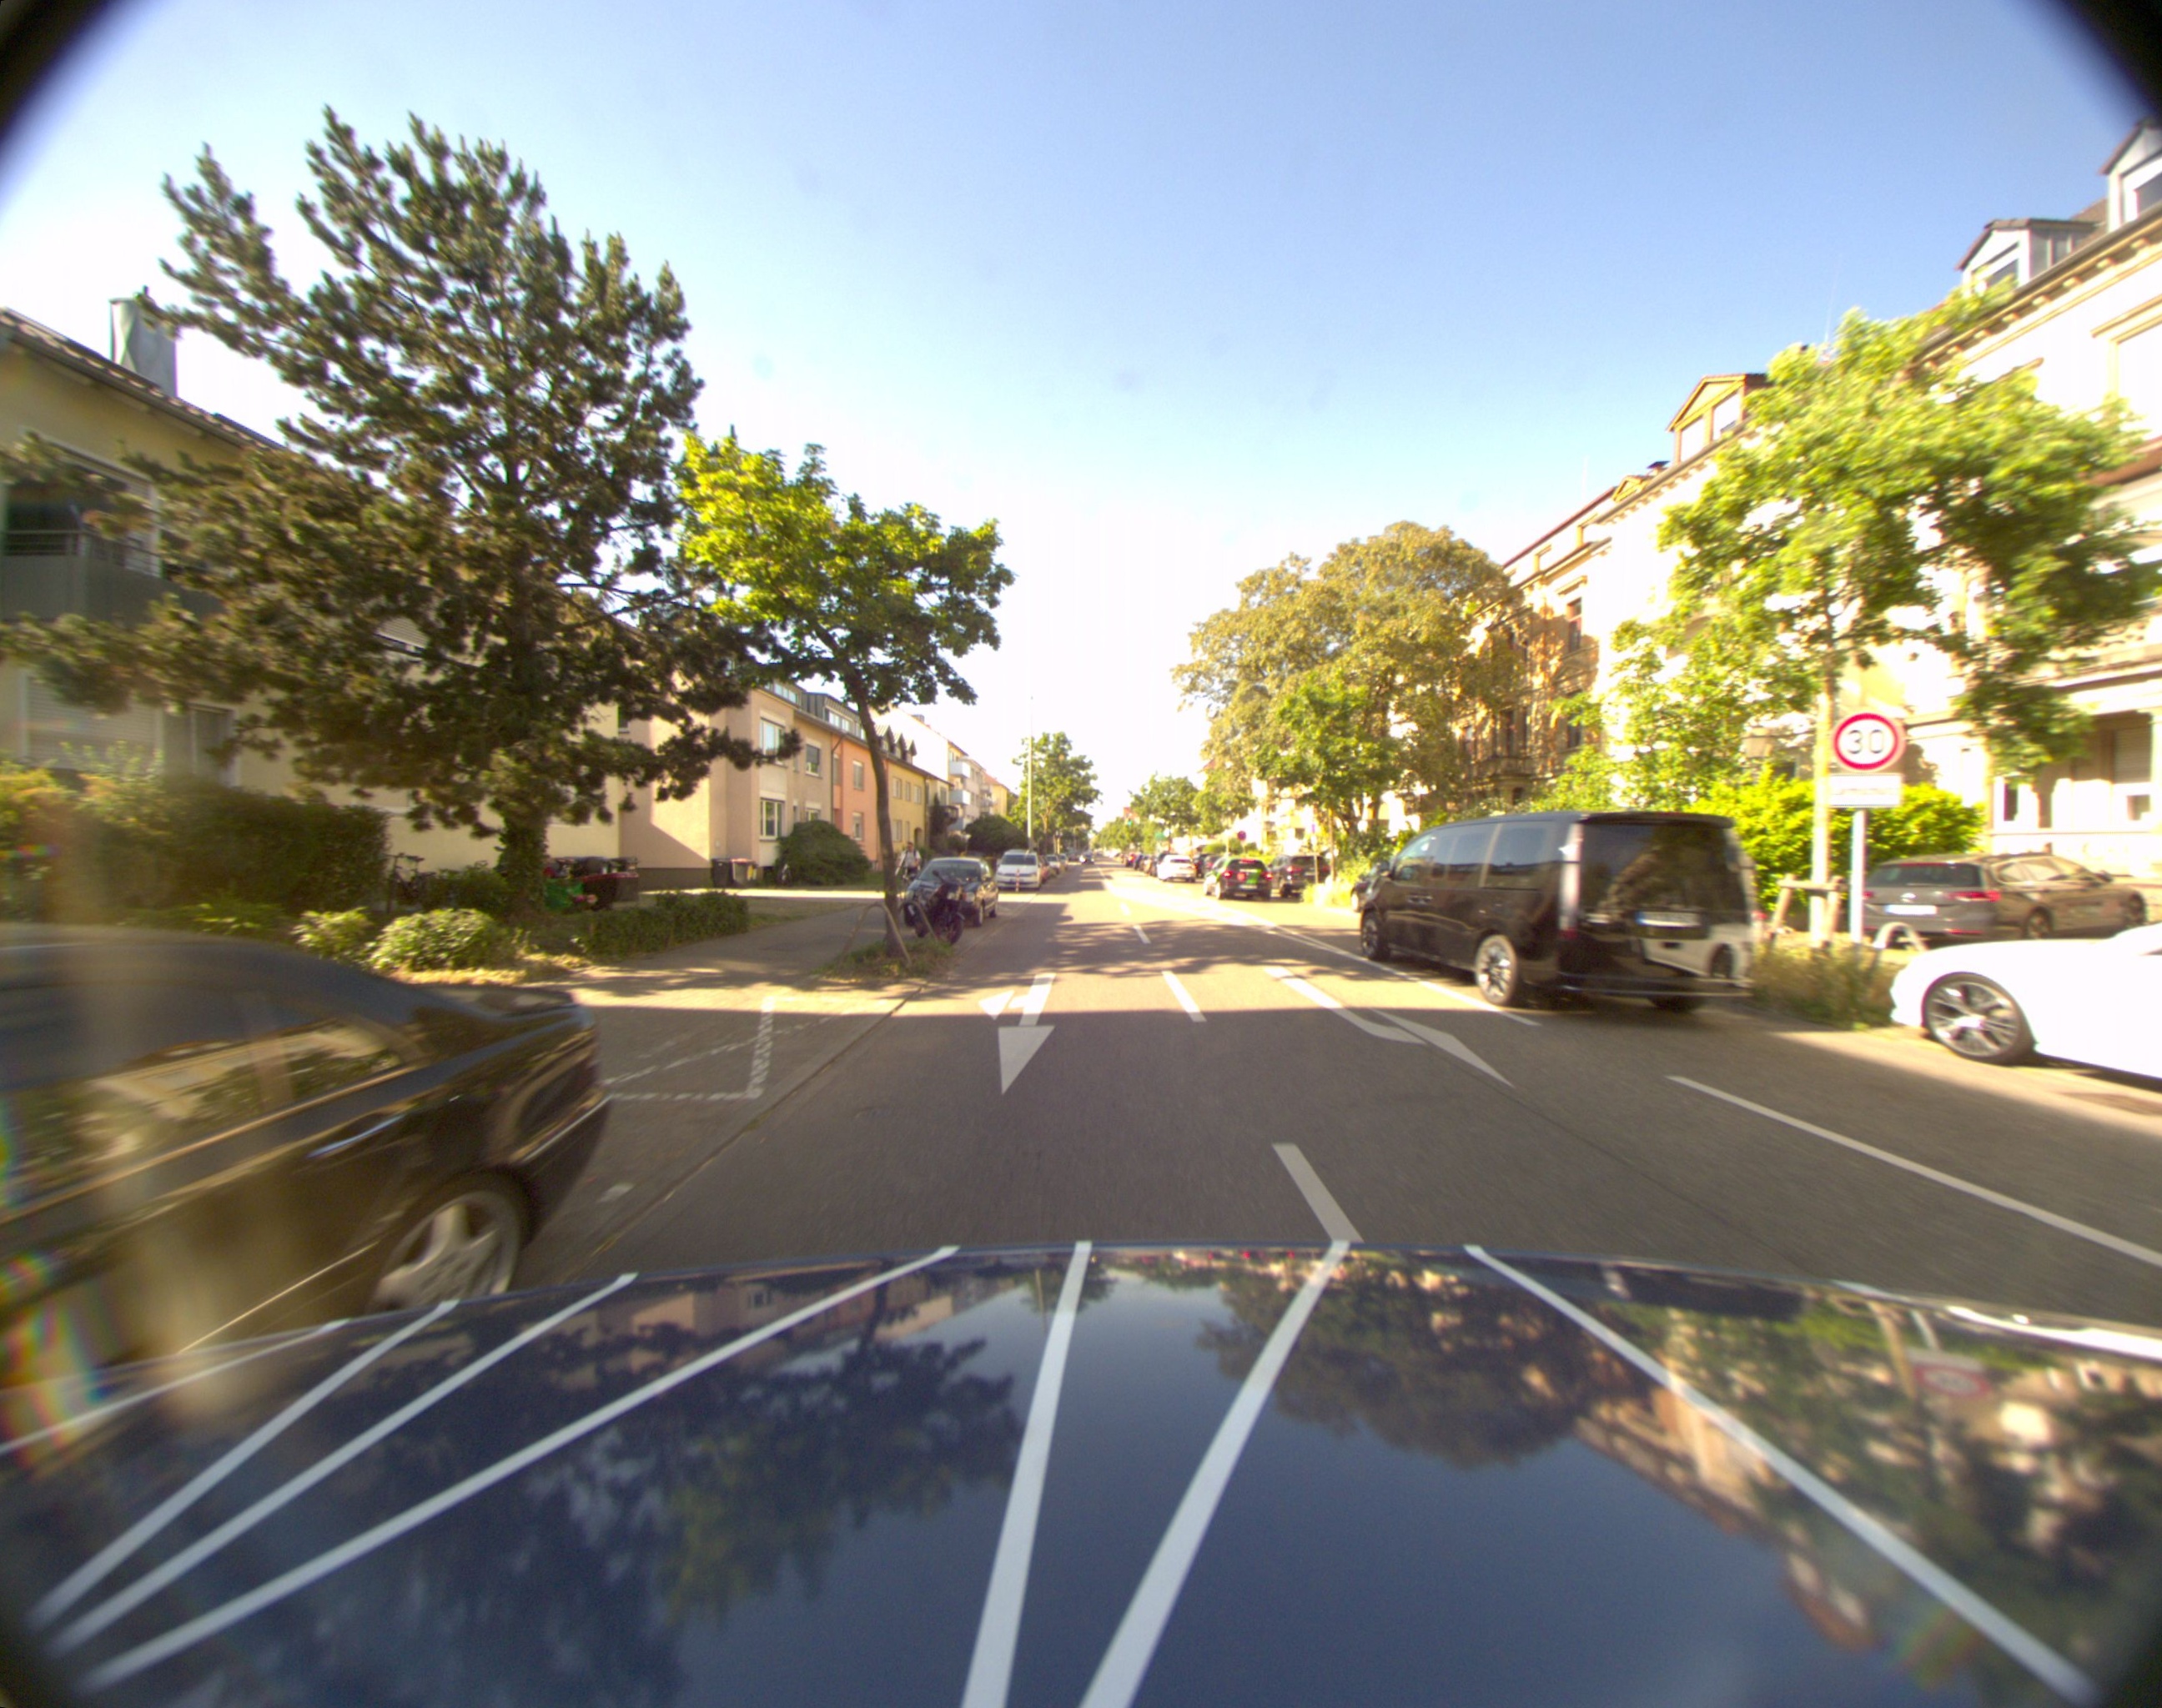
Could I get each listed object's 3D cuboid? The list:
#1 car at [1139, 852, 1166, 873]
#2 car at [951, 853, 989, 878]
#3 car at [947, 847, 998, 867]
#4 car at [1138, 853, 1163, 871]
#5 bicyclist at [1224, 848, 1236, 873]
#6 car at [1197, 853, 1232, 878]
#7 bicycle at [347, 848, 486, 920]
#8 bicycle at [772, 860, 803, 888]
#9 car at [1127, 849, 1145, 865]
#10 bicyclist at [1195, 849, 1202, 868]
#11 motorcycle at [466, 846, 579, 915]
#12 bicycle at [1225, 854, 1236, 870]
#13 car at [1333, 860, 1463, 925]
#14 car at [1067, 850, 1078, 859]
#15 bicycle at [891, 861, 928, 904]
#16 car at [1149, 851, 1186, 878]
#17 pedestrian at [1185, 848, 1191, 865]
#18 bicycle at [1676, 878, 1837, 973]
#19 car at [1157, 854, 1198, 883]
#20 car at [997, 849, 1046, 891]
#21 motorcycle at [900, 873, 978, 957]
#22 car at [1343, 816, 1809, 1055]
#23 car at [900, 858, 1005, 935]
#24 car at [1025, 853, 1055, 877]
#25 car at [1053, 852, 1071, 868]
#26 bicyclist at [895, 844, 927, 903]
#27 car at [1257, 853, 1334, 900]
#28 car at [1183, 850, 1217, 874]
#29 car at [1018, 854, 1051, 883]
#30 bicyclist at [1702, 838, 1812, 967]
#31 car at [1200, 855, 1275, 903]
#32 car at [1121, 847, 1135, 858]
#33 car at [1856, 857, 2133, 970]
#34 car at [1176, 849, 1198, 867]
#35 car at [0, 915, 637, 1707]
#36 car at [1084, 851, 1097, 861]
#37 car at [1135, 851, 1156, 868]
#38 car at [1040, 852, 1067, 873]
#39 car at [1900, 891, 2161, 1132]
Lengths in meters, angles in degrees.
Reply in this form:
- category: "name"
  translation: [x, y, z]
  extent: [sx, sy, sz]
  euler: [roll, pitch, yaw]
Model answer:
- category: "car"
  translation: [5.271, 0.611, 56.343]
  extent: [1.585, 1.443, 3.744]
  euler: [0, 0, -2]
- category: "car"
  translation: [-6.389, 0.636, 44.015]
  extent: [1.535, 1.348, 3.717]
  euler: [3, 0, 1]
- category: "car"
  translation: [-9.335, 0.239, 65.504]
  extent: [3.997, 1.433, 1.831]
  euler: [3, 1, 1]
- category: "car"
  translation: [5.933, 0.639, 64.965]
  extent: [1.639, 1.395, 3.735]
  euler: [2, 0, -1]
- category: "bicyclist"
  translation: [10.640, 0.478, 54.232]
  extent: [0.584, 1.756, 1.208]
  euler: [-2, 1, 0]
- category: "car"
  translation: [8.173, 0.677, 46.899]
  extent: [1.605, 1.468, 3.931]
  euler: [-1, 0, 2]
- category: "bicycle"
  translation: [-13.047, 0.540, 15.038]
  extent: [0.599, 1.296, 2.425]
  euler: [1, 0, 1]
- category: "bicycle"
  translation: [-11.368, 0.768, 29.472]
  extent: [0.456, 0.987, 1.743]
  euler: [2, 2, 1]
- category: "car"
  translation: [6.048, 0.292, 84.128]
  extent: [1.726, 1.607, 4.300]
  euler: [3, 0, 1]
- category: "bicyclist"
  translation: [10.738, 0.413, 69.456]
  extent: [0.610, 1.744, 0.691]
  euler: [0, 1, 1]
- category: "motorcycle"
  translation: [-12.077, 0.531, 16.549]
  extent: [0.638, 1.368, 2.425]
  euler: [1, 0, 1]
- category: "bicycle"
  translation: [10.651, 0.561, 54.173]
  extent: [0.450, 1.109, 1.764]
  euler: [-2, 0, 0]
- category: "car"
  translation: [7.991, 0.899, 19.576]
  extent: [1.641, 1.408, 4.089]
  euler: [-2, 0, 1]
- category: "car"
  translation: [-1.457, 0.062, 134.816]
  extent: [1.822, 1.542, 4.304]
  euler: [0, 1, 1]
- category: "bicycle"
  translation: [-5.283, 0.848, 23.501]
  extent: [0.699, 1.239, 1.822]
  euler: [1, 1, 1]
- category: "car"
  translation: [5.533, 0.641, 49.005]
  extent: [1.841, 1.604, 4.400]
  euler: [2, 0, 0]
- category: "pedestrian"
  translation: [10.524, 0.219, 74.882]
  extent: [0.470, 1.641, 0.719]
  euler: [-1, 1, 1]
- category: "bicycle"
  translation: [9.937, 0.993, 11.312]
  extent: [0.449, 1.186, 2.192]
  euler: [0, 1, 1]
- category: "car"
  translation: [5.232, 0.739, 41.661]
  extent: [1.737, 1.404, 4.192]
  euler: [2, 0, 1]
- category: "car"
  translation: [-2.459, 0.611, 32.406]
  extent: [1.773, 1.649, 4.340]
  euler: [1, 0, -1]
- category: "motorcycle"
  translation: [-2.591, 1.028, 13.592]
  extent: [0.701, 1.264, 2.426]
  euler: [1, 0, -27]
- category: "car"
  translation: [5.028, 0.670, 8.936]
  extent: [2.021, 1.940, 5.177]
  euler: [2, 0, 0]
- category: "car"
  translation: [-2.789, 0.868, 17.212]
  extent: [1.624, 1.490, 3.649]
  euler: [1, 0, 2]
- category: "car"
  translation: [-2.394, 0.640, 45.358]
  extent: [1.535, 1.348, 3.717]
  euler: [1, 0, 1]
- category: "car"
  translation: [-1.849, 0.535, 73.326]
  extent: [1.571, 1.448, 3.865]
  euler: [1, 1, 1]
- category: "bicyclist"
  translation: [-5.248, 0.585, 23.478]
  extent: [0.726, 1.783, 1.015]
  euler: [1, 1, 1]
- category: "car"
  translation: [7.982, 0.765, 28.681]
  extent: [1.629, 1.579, 4.347]
  euler: [-2, 0, 0]
- category: "car"
  translation: [8.109, 0.510, 52.031]
  extent: [1.674, 1.596, 4.394]
  euler: [-1, 0, 1]
- category: "car"
  translation: [-2.387, 0.722, 39.604]
  extent: [1.536, 1.441, 3.717]
  euler: [1, 0, -1]
- category: "bicyclist"
  translation: [9.964, 0.686, 11.244]
  extent: [0.660, 1.813, 1.054]
  euler: [0, 1, 1]
- category: "car"
  translation: [5.366, 0.803, 26.530]
  extent: [1.696, 1.445, 4.173]
  euler: [2, 0, 0]
- category: "car"
  translation: [6.658, -0.236, 108.466]
  extent: [1.702, 1.398, 4.505]
  euler: [3, 1, 0]
- category: "car"
  translation: [14.204, 0.824, 11.821]
  extent: [3.925, 1.480, 1.629]
  euler: [-1, 0, -22]
- category: "car"
  translation: [9.030, 0.331, 64.919]
  extent: [1.404, 1.480, 3.685]
  euler: [-1, 0, 2]
- category: "car"
  translation: [-2.667, 0.977, 0.879]
  extent: [1.590, 1.388, 4.454]
  euler: [2, 0, 1]
- category: "car"
  translation: [1.313, 0.228, 103.769]
  extent: [1.654, 1.348, 4.304]
  euler: [0, 1, 1]
- category: "car"
  translation: [6.087, 0.488, 71.854]
  extent: [1.660, 1.508, 4.076]
  euler: [3, 0, 1]
- category: "car"
  translation: [-2.019, 0.600, 56.357]
  extent: [1.653, 1.395, 3.970]
  euler: [2, 0, 2]
- category: "car"
  translation: [7.629, 1.025, 3.835]
  extent: [1.838, 1.381, 4.802]
  euler: [-1, 0, 0]
